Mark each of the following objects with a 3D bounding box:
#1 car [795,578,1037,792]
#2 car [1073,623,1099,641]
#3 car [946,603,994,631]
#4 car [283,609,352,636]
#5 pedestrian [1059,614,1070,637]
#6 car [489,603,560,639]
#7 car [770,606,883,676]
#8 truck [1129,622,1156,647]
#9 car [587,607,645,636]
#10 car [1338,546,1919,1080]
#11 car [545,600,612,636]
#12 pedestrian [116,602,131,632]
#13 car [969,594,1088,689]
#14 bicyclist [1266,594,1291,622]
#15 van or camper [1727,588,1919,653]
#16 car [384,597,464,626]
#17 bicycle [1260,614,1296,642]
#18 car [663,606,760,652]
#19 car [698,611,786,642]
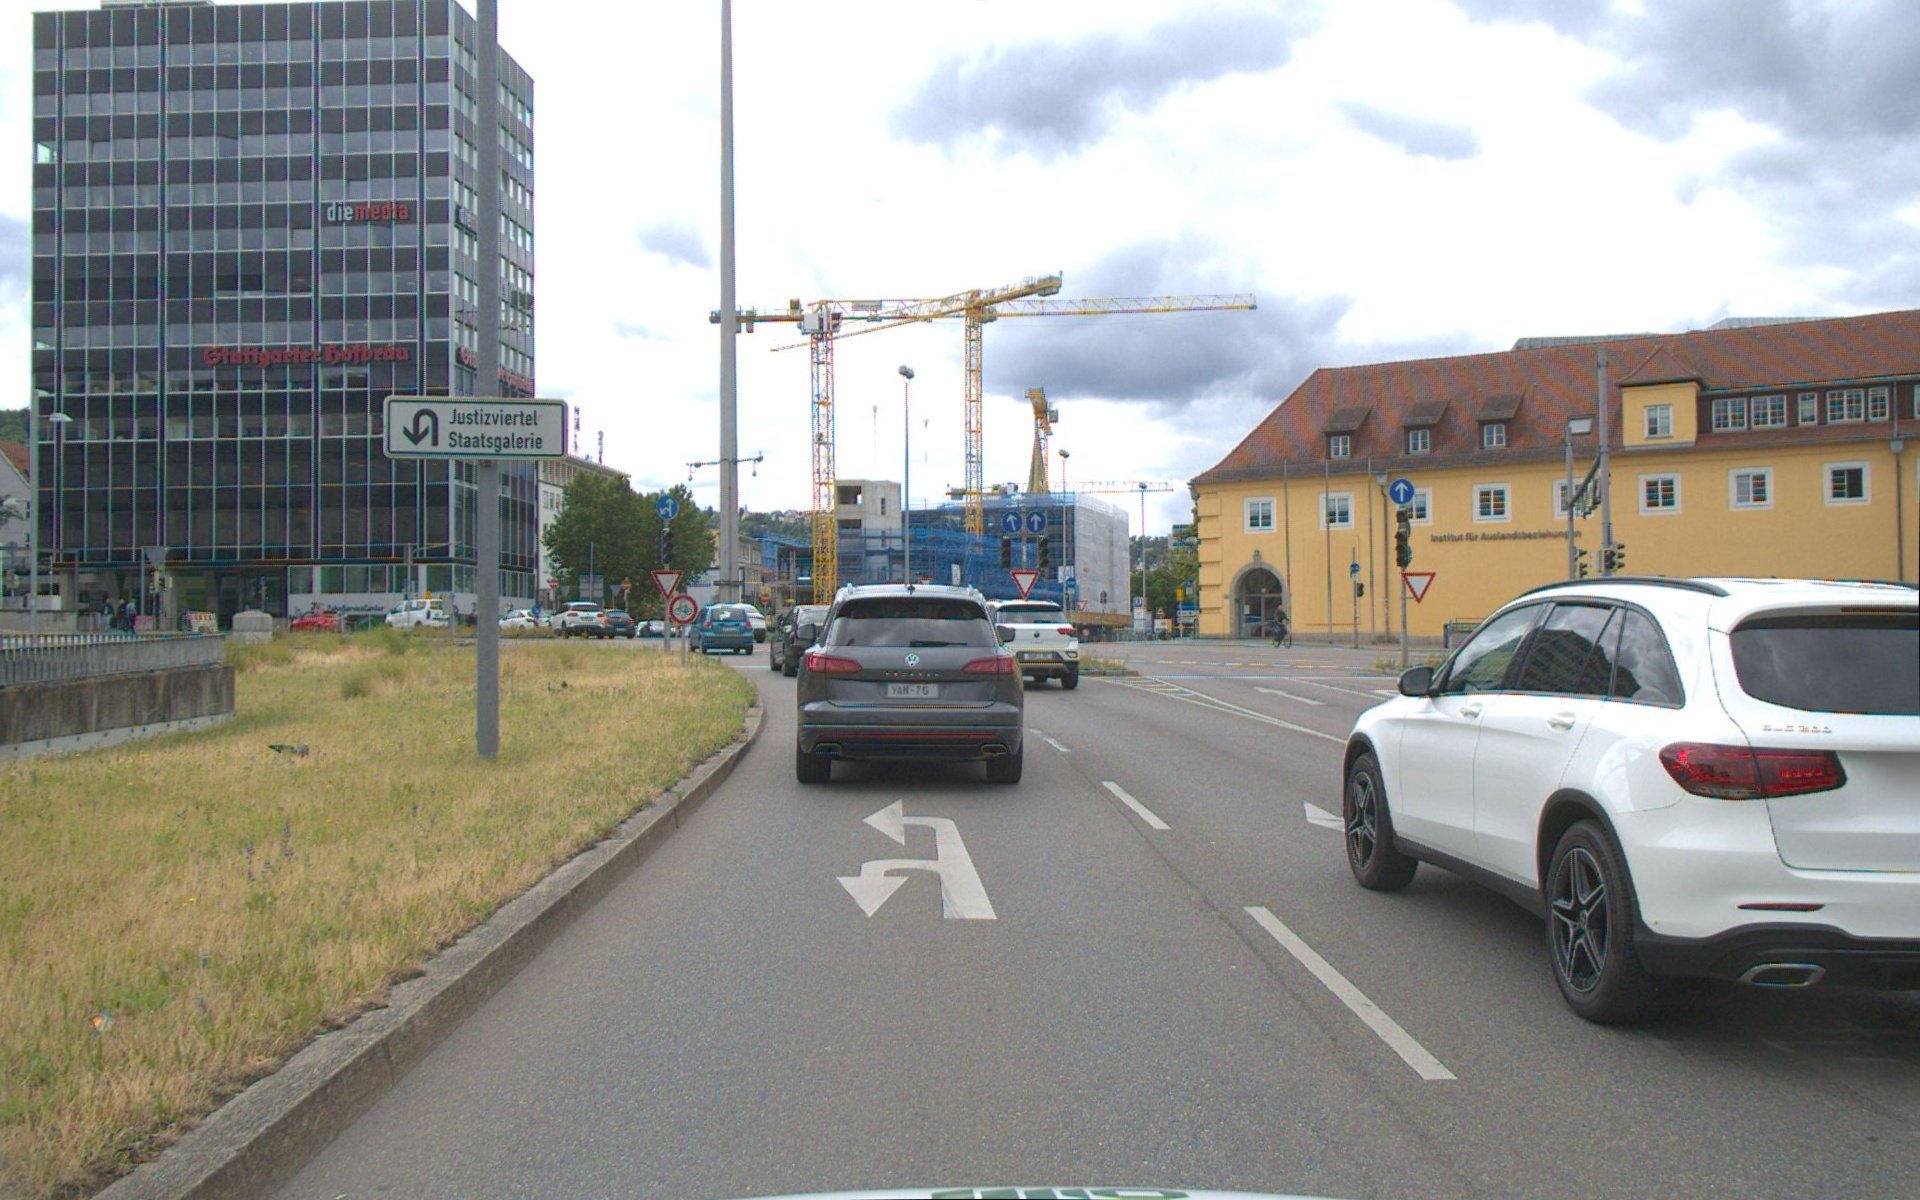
[{"bbox_3d":[-0.369,0.655,15.050,1.893,1.676,3.999,0,0,-1],"label":"car"},{"bbox_3d":[10.902,2.760,143.016,1.764,1.529,3.984,0,0,11],"label":"car"},{"bbox_3d":[0.643,1.038,102.627,1.946,1.696,3.983,0,0,17],"label":"car"},{"bbox_3d":[-38.158,1.343,98.216,3.893,1.529,1.721,0,0,29],"label":"car"},{"bbox_3d":[6.004,1.478,94.912,0.537,1.304,0.463,1,-1,15],"label":"pedestrian"},{"bbox_3d":[-24.230,1.149,91.973,3.927,1.638,1.891,4,6,40],"label":"car"},{"bbox_3d":[-2.863,0.827,34.815,1.762,1.380,4.055,0,0,-14],"label":"car"},{"bbox_3d":[19.116,3.548,173.184,2.082,2.496,4.831,0,0,14],"label":"truck"},{"bbox_3d":[-17.229,1.056,82.638,1.626,1.421,3.554,1,0,-34],"label":"car"},{"bbox_3d":[3.163,0.660,7.418,1.782,1.676,4.377,0,0,-2],"label":"car"},{"bbox_3d":[-17.434,0.797,75.433,1.797,1.522,3.863,0,0,-32],"label":"car"},{"bbox_3d":[-45.165,0.929,89.290,0.618,1.621,0.582,1,-1,-41],"label":"pedestrian"},{"bbox_3d":[1.197,0.718,30.535,1.856,1.613,3.798,0,0,-3],"label":"car"},{"bbox_3d":[13.922,0.349,72.299,0.905,1.179,0.724,1,0,-5],"label":"bicyclist"},{"bbox_3d":[28.965,0.660,55.158,5.903,2.049,2.012,0,-1,35],"label":"van or camper"},{"bbox_3d":[-29.849,0.635,92.070,4.525,1.529,2.240,1,0,40],"label":"car"},{"bbox_3d":[13.905,1.197,72.293,0.905,1.179,2.462,1,0,-5],"label":"bicycle"},{"bbox_3d":[-7.798,0.871,51.647,1.773,1.380,4.032,0,0,-28],"label":"car"},{"bbox_3d":[-8.631,1.038,65.314,1.659,1.159,4.014,1,0,-38],"label":"car"}]
